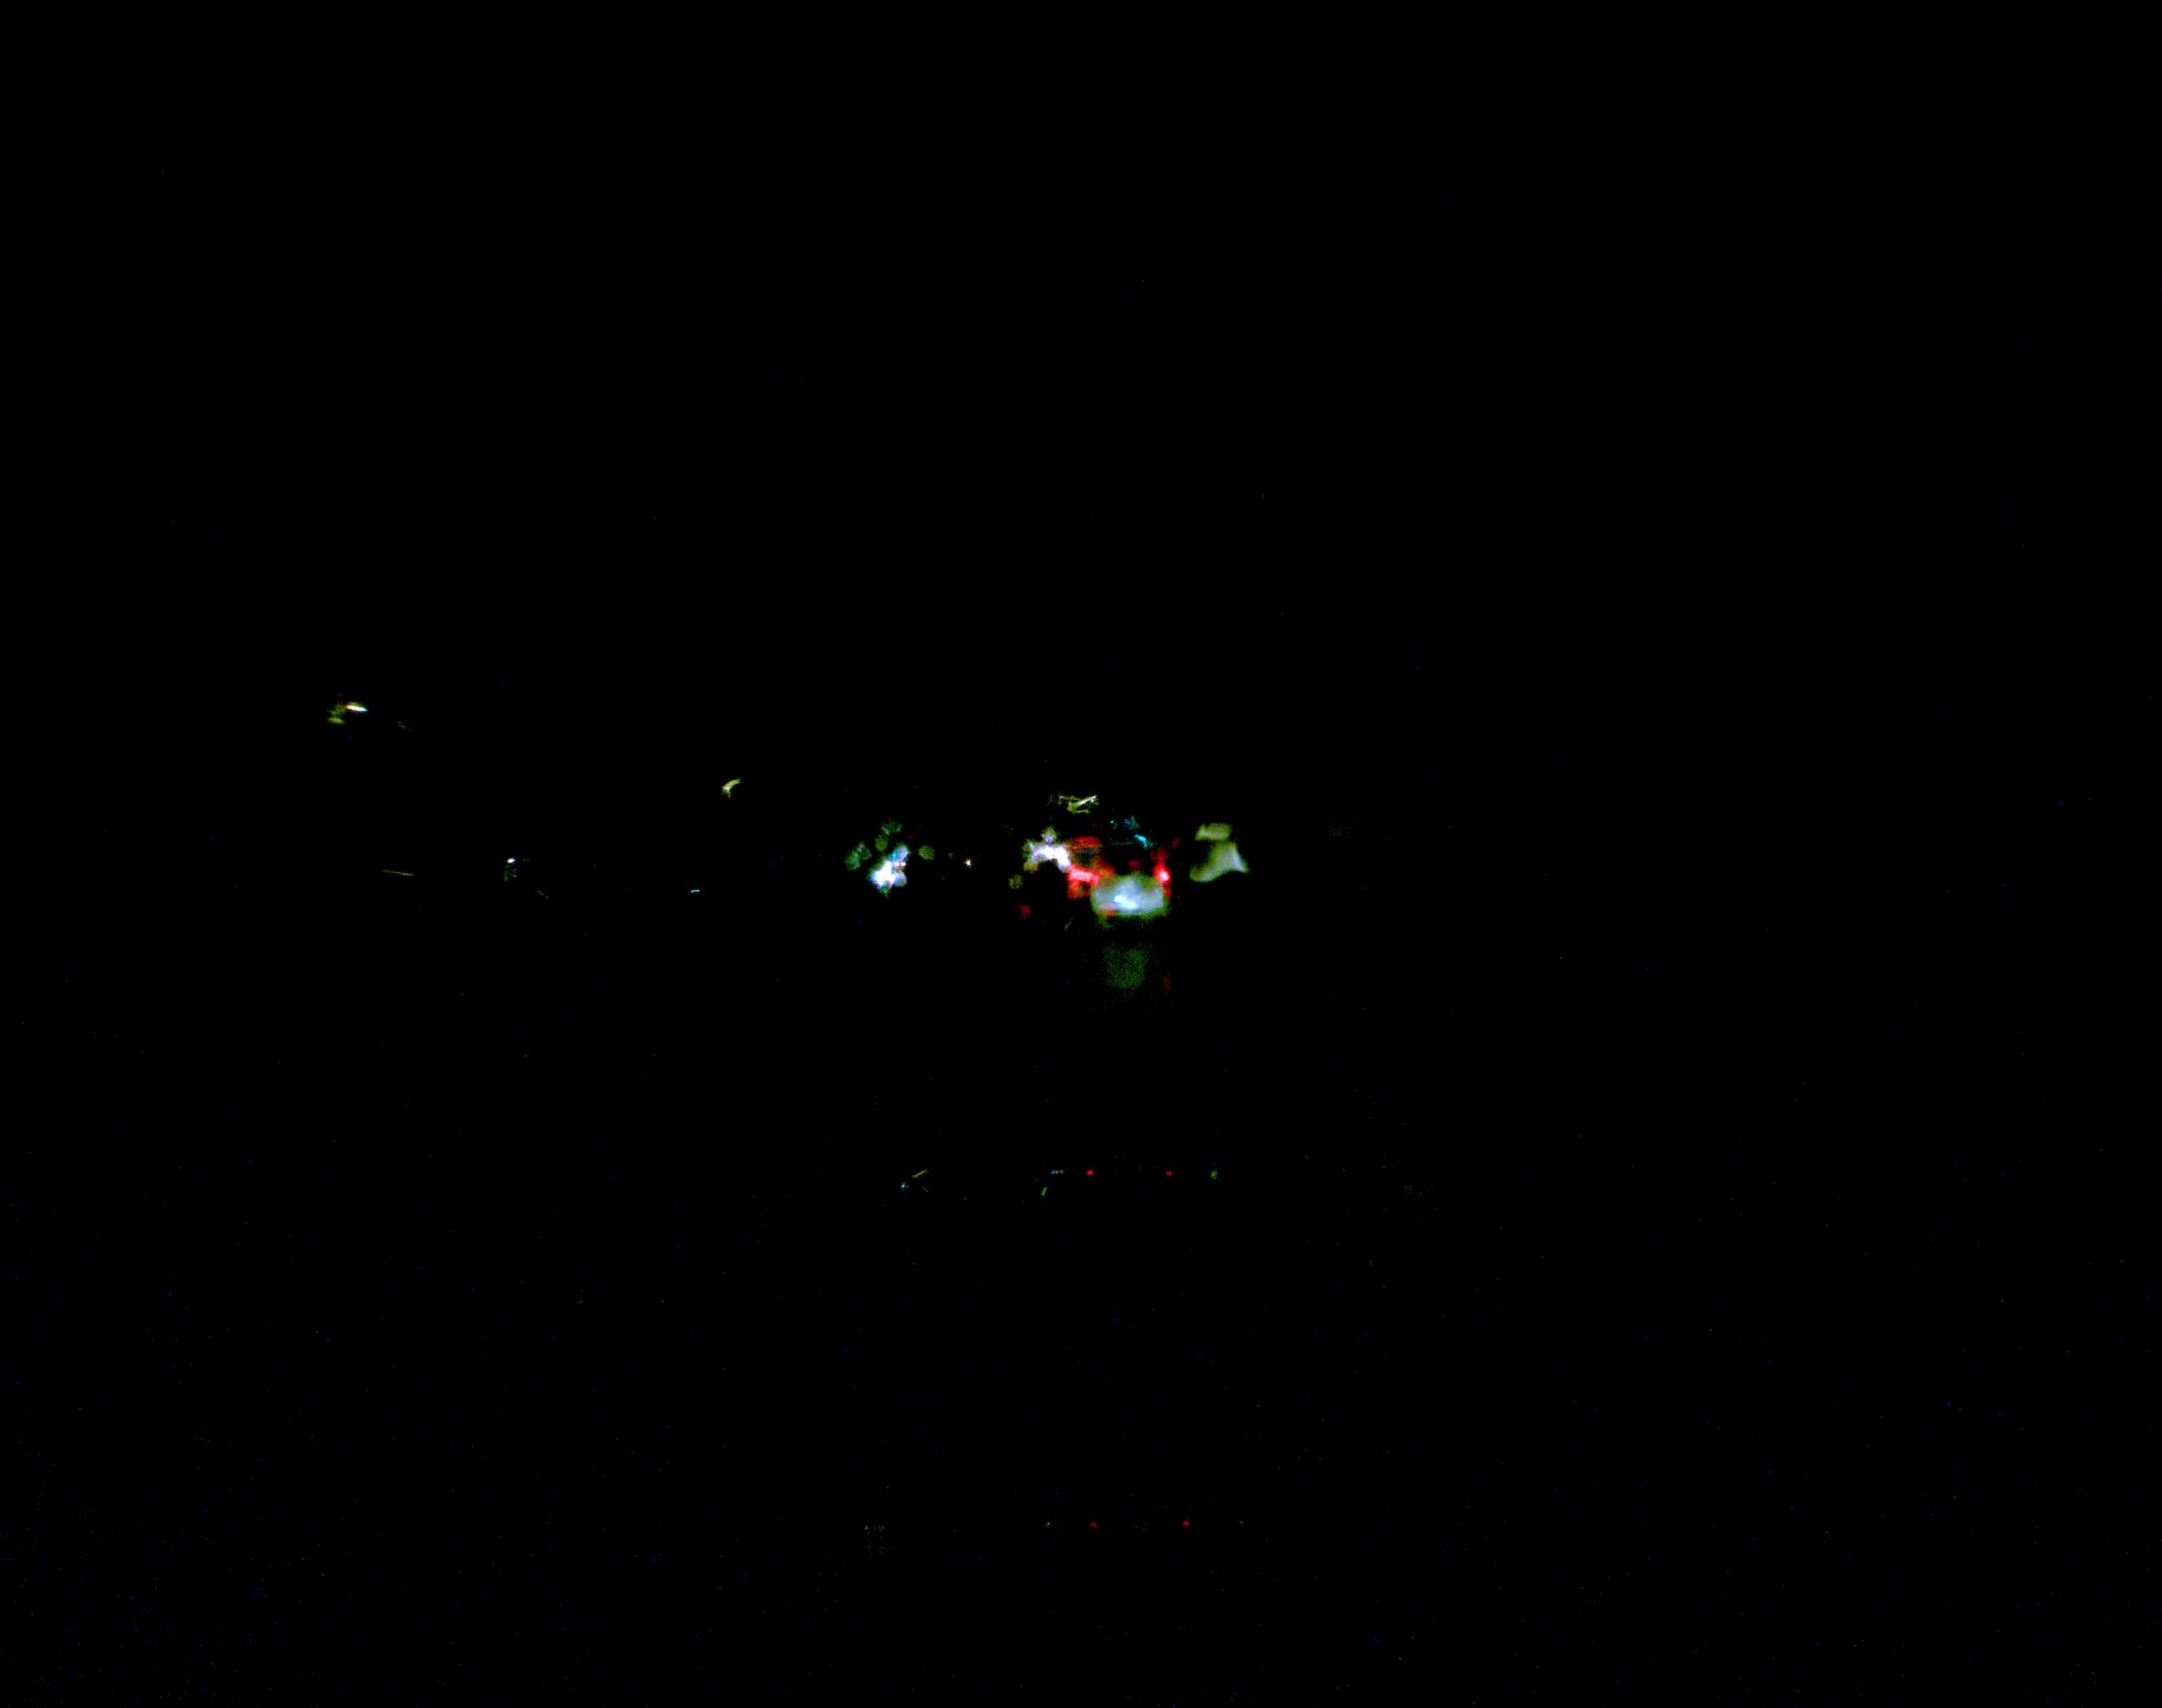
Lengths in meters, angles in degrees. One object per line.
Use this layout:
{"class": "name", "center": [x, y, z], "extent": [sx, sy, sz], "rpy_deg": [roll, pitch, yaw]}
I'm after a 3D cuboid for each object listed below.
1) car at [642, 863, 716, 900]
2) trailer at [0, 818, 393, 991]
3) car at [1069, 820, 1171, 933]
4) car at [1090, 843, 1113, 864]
{"class": "car", "center": [-21.478, 1.430, 43.715], "extent": [1.780, 1.693, 4.218], "rpy_deg": [-2, 1, 0]}
{"class": "trailer", "center": [-30.628, 1.393, 26.622], "extent": [3.957, 4.610, 14.248], "rpy_deg": [0, -1, 1]}
{"class": "car", "center": [0.895, 0.392, 17.675], "extent": [1.783, 2.021, 4.585], "rpy_deg": [-4, 1, 4]}
{"class": "car", "center": [1.862, -0.052, 75.768], "extent": [1.779, 1.782, 4.434], "rpy_deg": [-4, 1, -1]}
